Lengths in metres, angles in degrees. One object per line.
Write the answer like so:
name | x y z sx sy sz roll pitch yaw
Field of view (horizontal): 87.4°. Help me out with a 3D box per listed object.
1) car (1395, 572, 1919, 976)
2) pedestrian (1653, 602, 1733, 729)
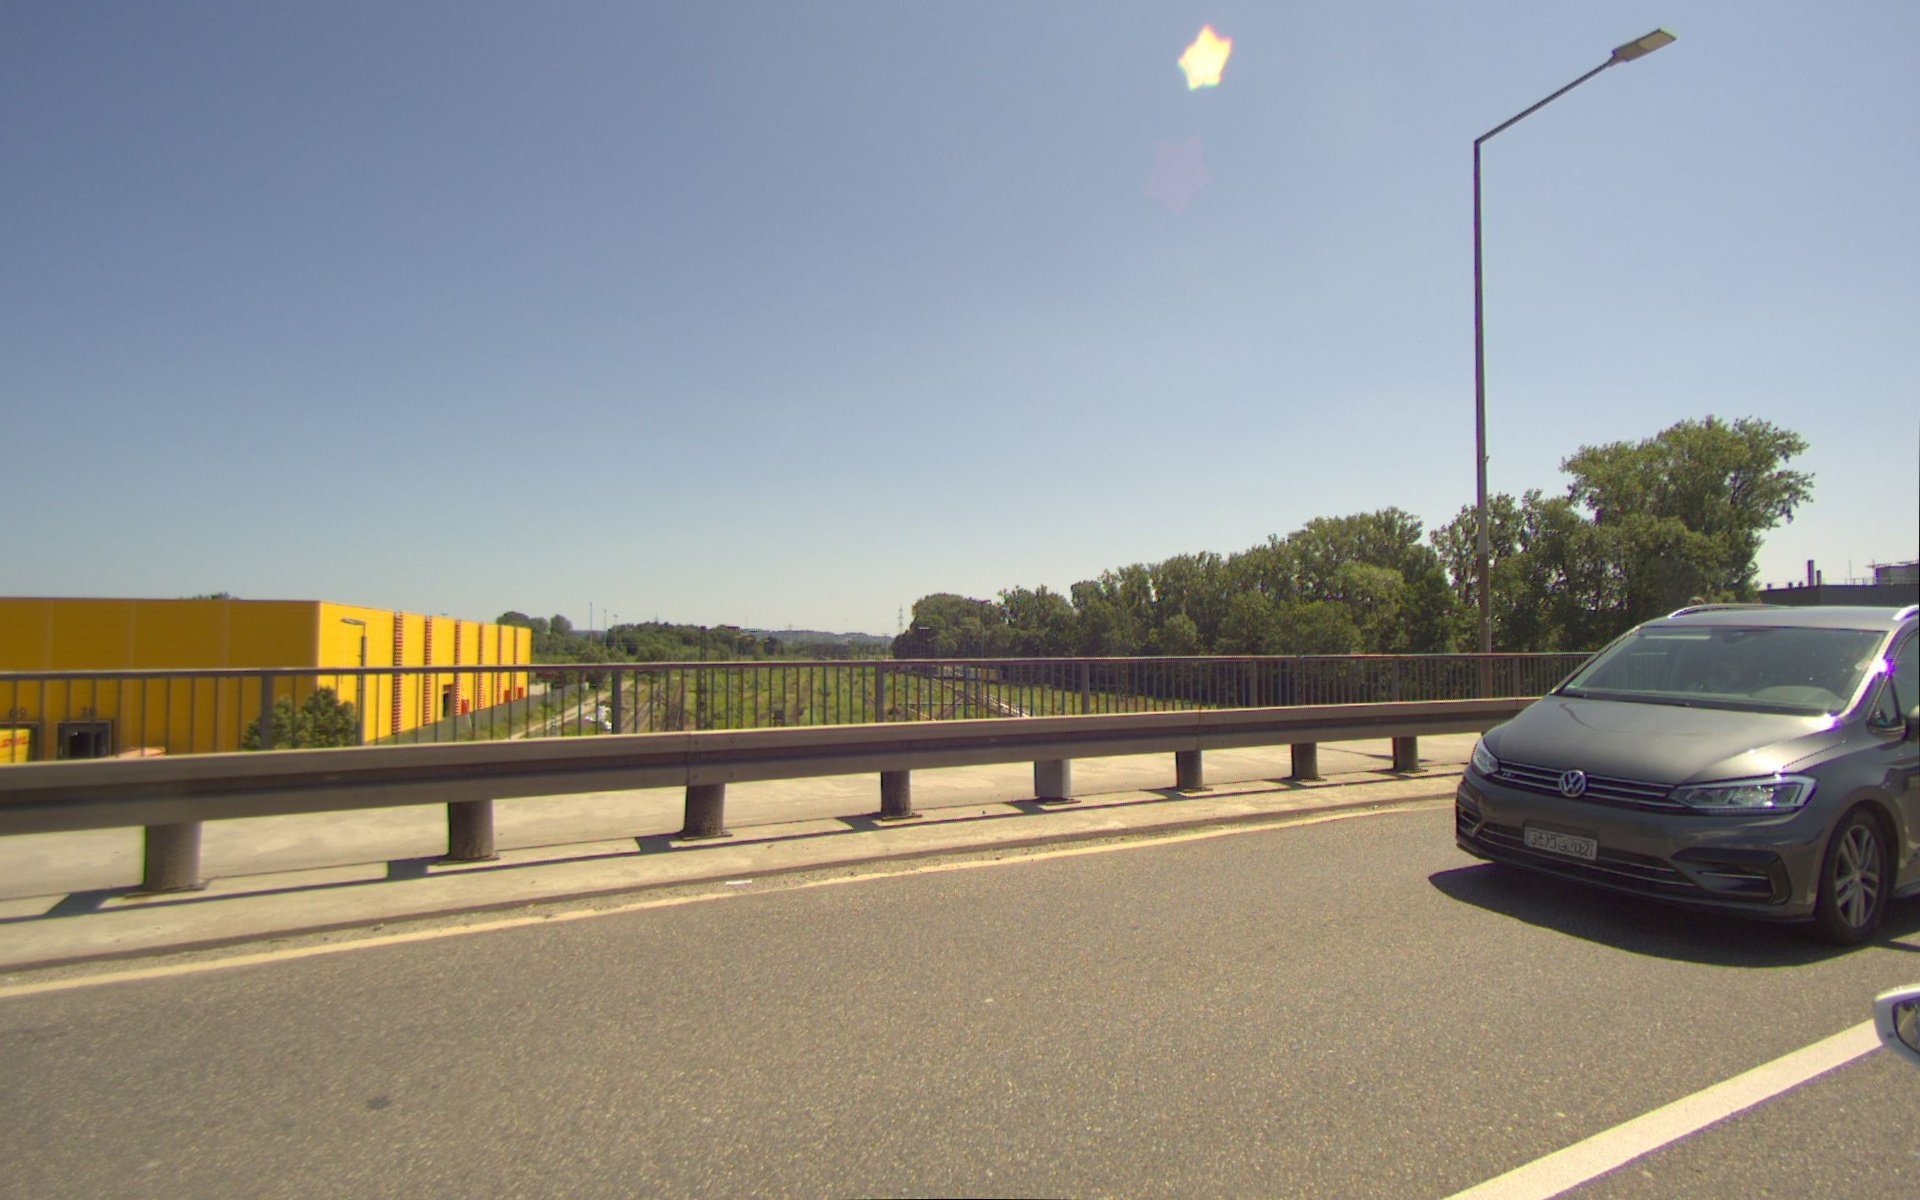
car | 4.838 0.814 6.004 4.204 1.676 1.889 2 -2 -27
pedestrian | 10.840 0.951 14.863 0.801 1.806 0.635 2 0 -27
